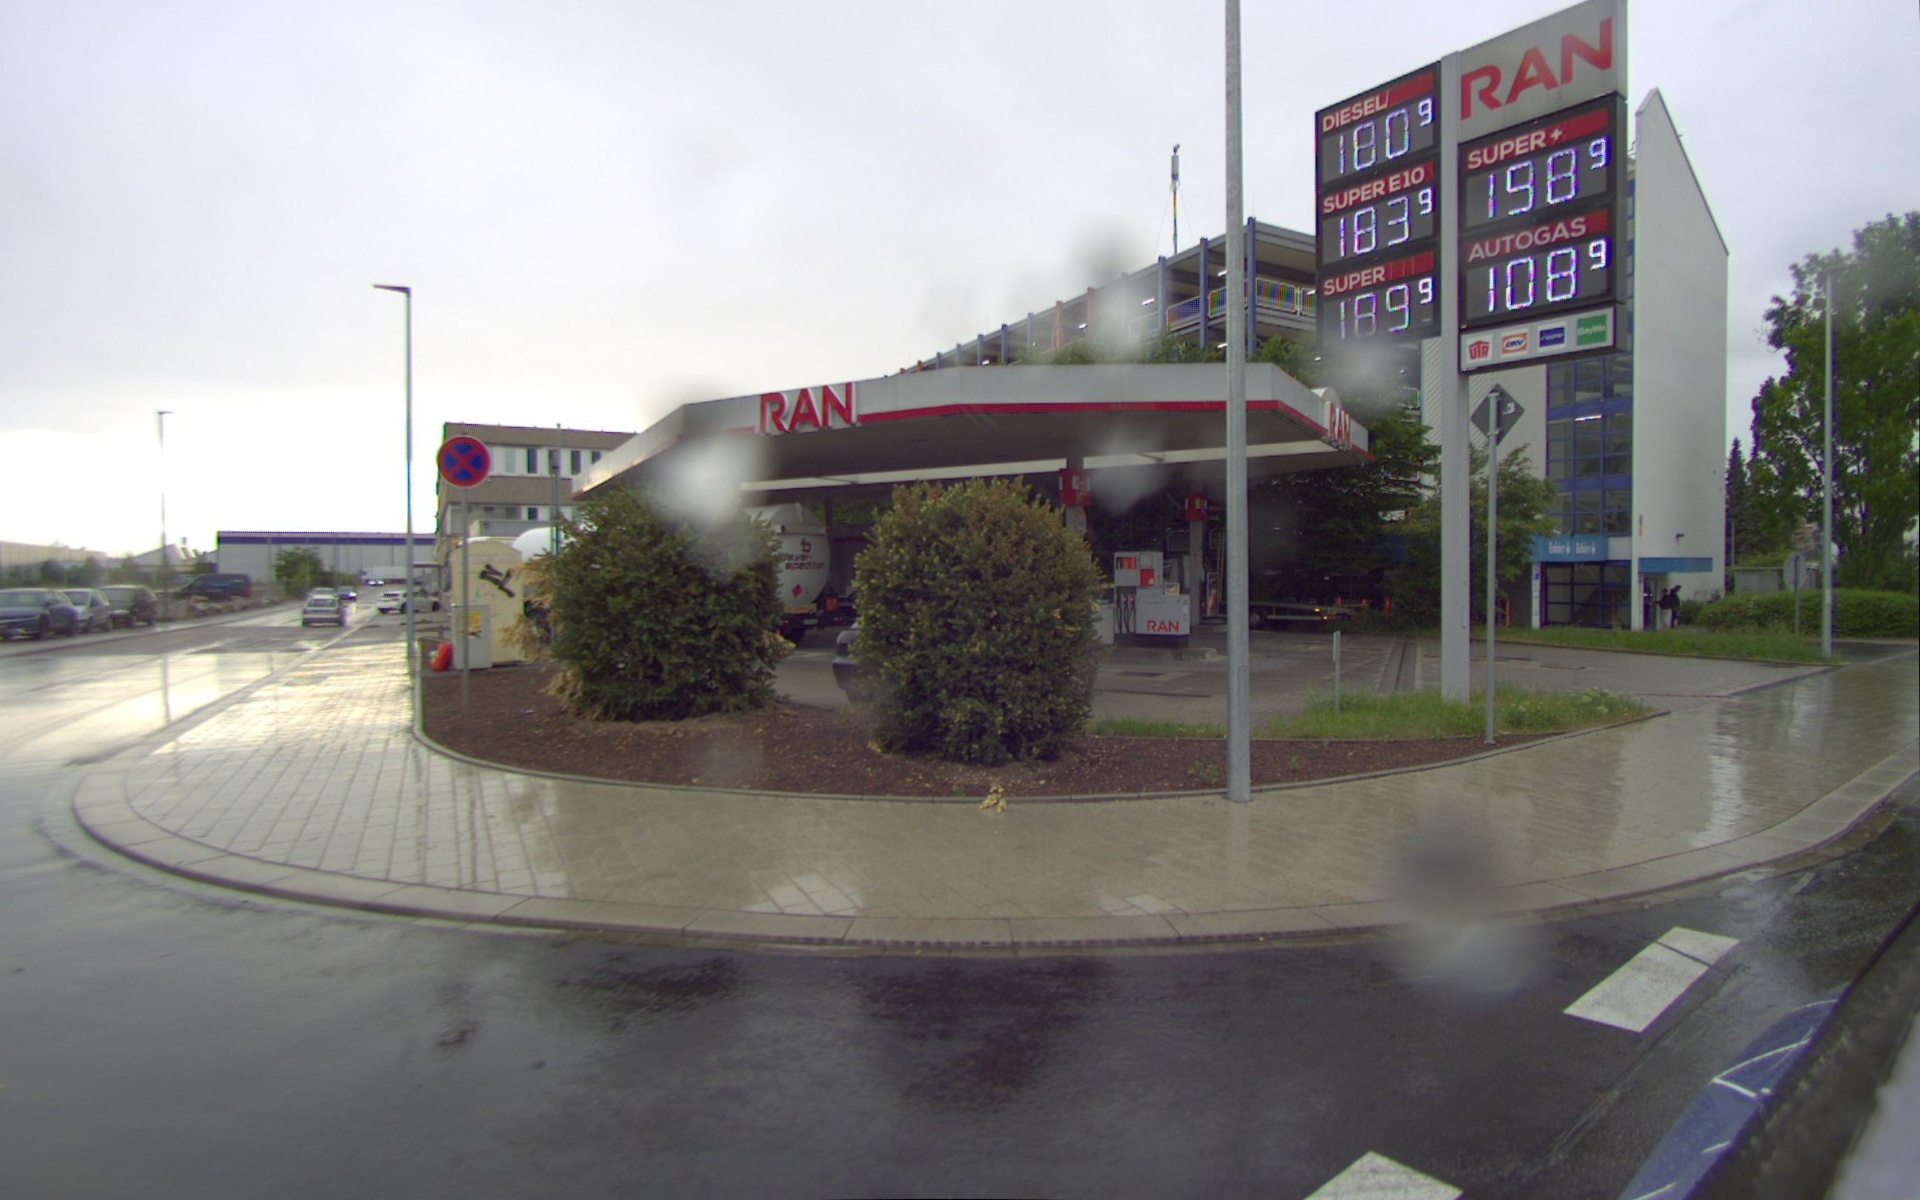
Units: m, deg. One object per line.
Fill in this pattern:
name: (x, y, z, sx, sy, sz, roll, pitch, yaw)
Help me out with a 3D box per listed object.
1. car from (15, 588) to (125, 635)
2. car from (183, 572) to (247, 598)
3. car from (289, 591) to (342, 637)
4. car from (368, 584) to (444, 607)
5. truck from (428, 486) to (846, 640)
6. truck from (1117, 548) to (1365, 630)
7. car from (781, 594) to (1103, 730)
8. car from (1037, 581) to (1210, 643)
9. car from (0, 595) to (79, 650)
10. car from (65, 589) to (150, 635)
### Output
car: (-32.849, 0.390, 37.495, 1.959, 1.609, 4.203, 1, 0, -26)
car: (-69.611, -1.397, 94.615, 4.693, 2.314, 2.000, -1, -1, -33)
car: (-30.902, 0.618, 48.455, 1.962, 2.039, 4.000, -1, 1, -35)
car: (-36.636, -0.310, 67.059, 1.968, 1.456, 4.536, 0, 1, 11)
truck: (-9.372, -0.769, 27.478, 14.315, 3.403, 2.614, 0, -2, 35)
truck: (8.467, -0.424, 31.289, 7.280, 2.234, 2.051, 3, 0, 45)
car: (-0.052, 0.630, 12.738, 1.686, 1.356, 4.278, 0, 1, 40)
car: (4.108, 0.259, 25.585, 3.971, 1.445, 1.755, 0, 1, 33)
car: (-29.786, 0.669, 31.911, 1.959, 1.527, 4.203, 1, 0, -26)
car: (-35.407, 0.444, 42.154, 1.960, 1.805, 4.005, -1, 1, -29)
